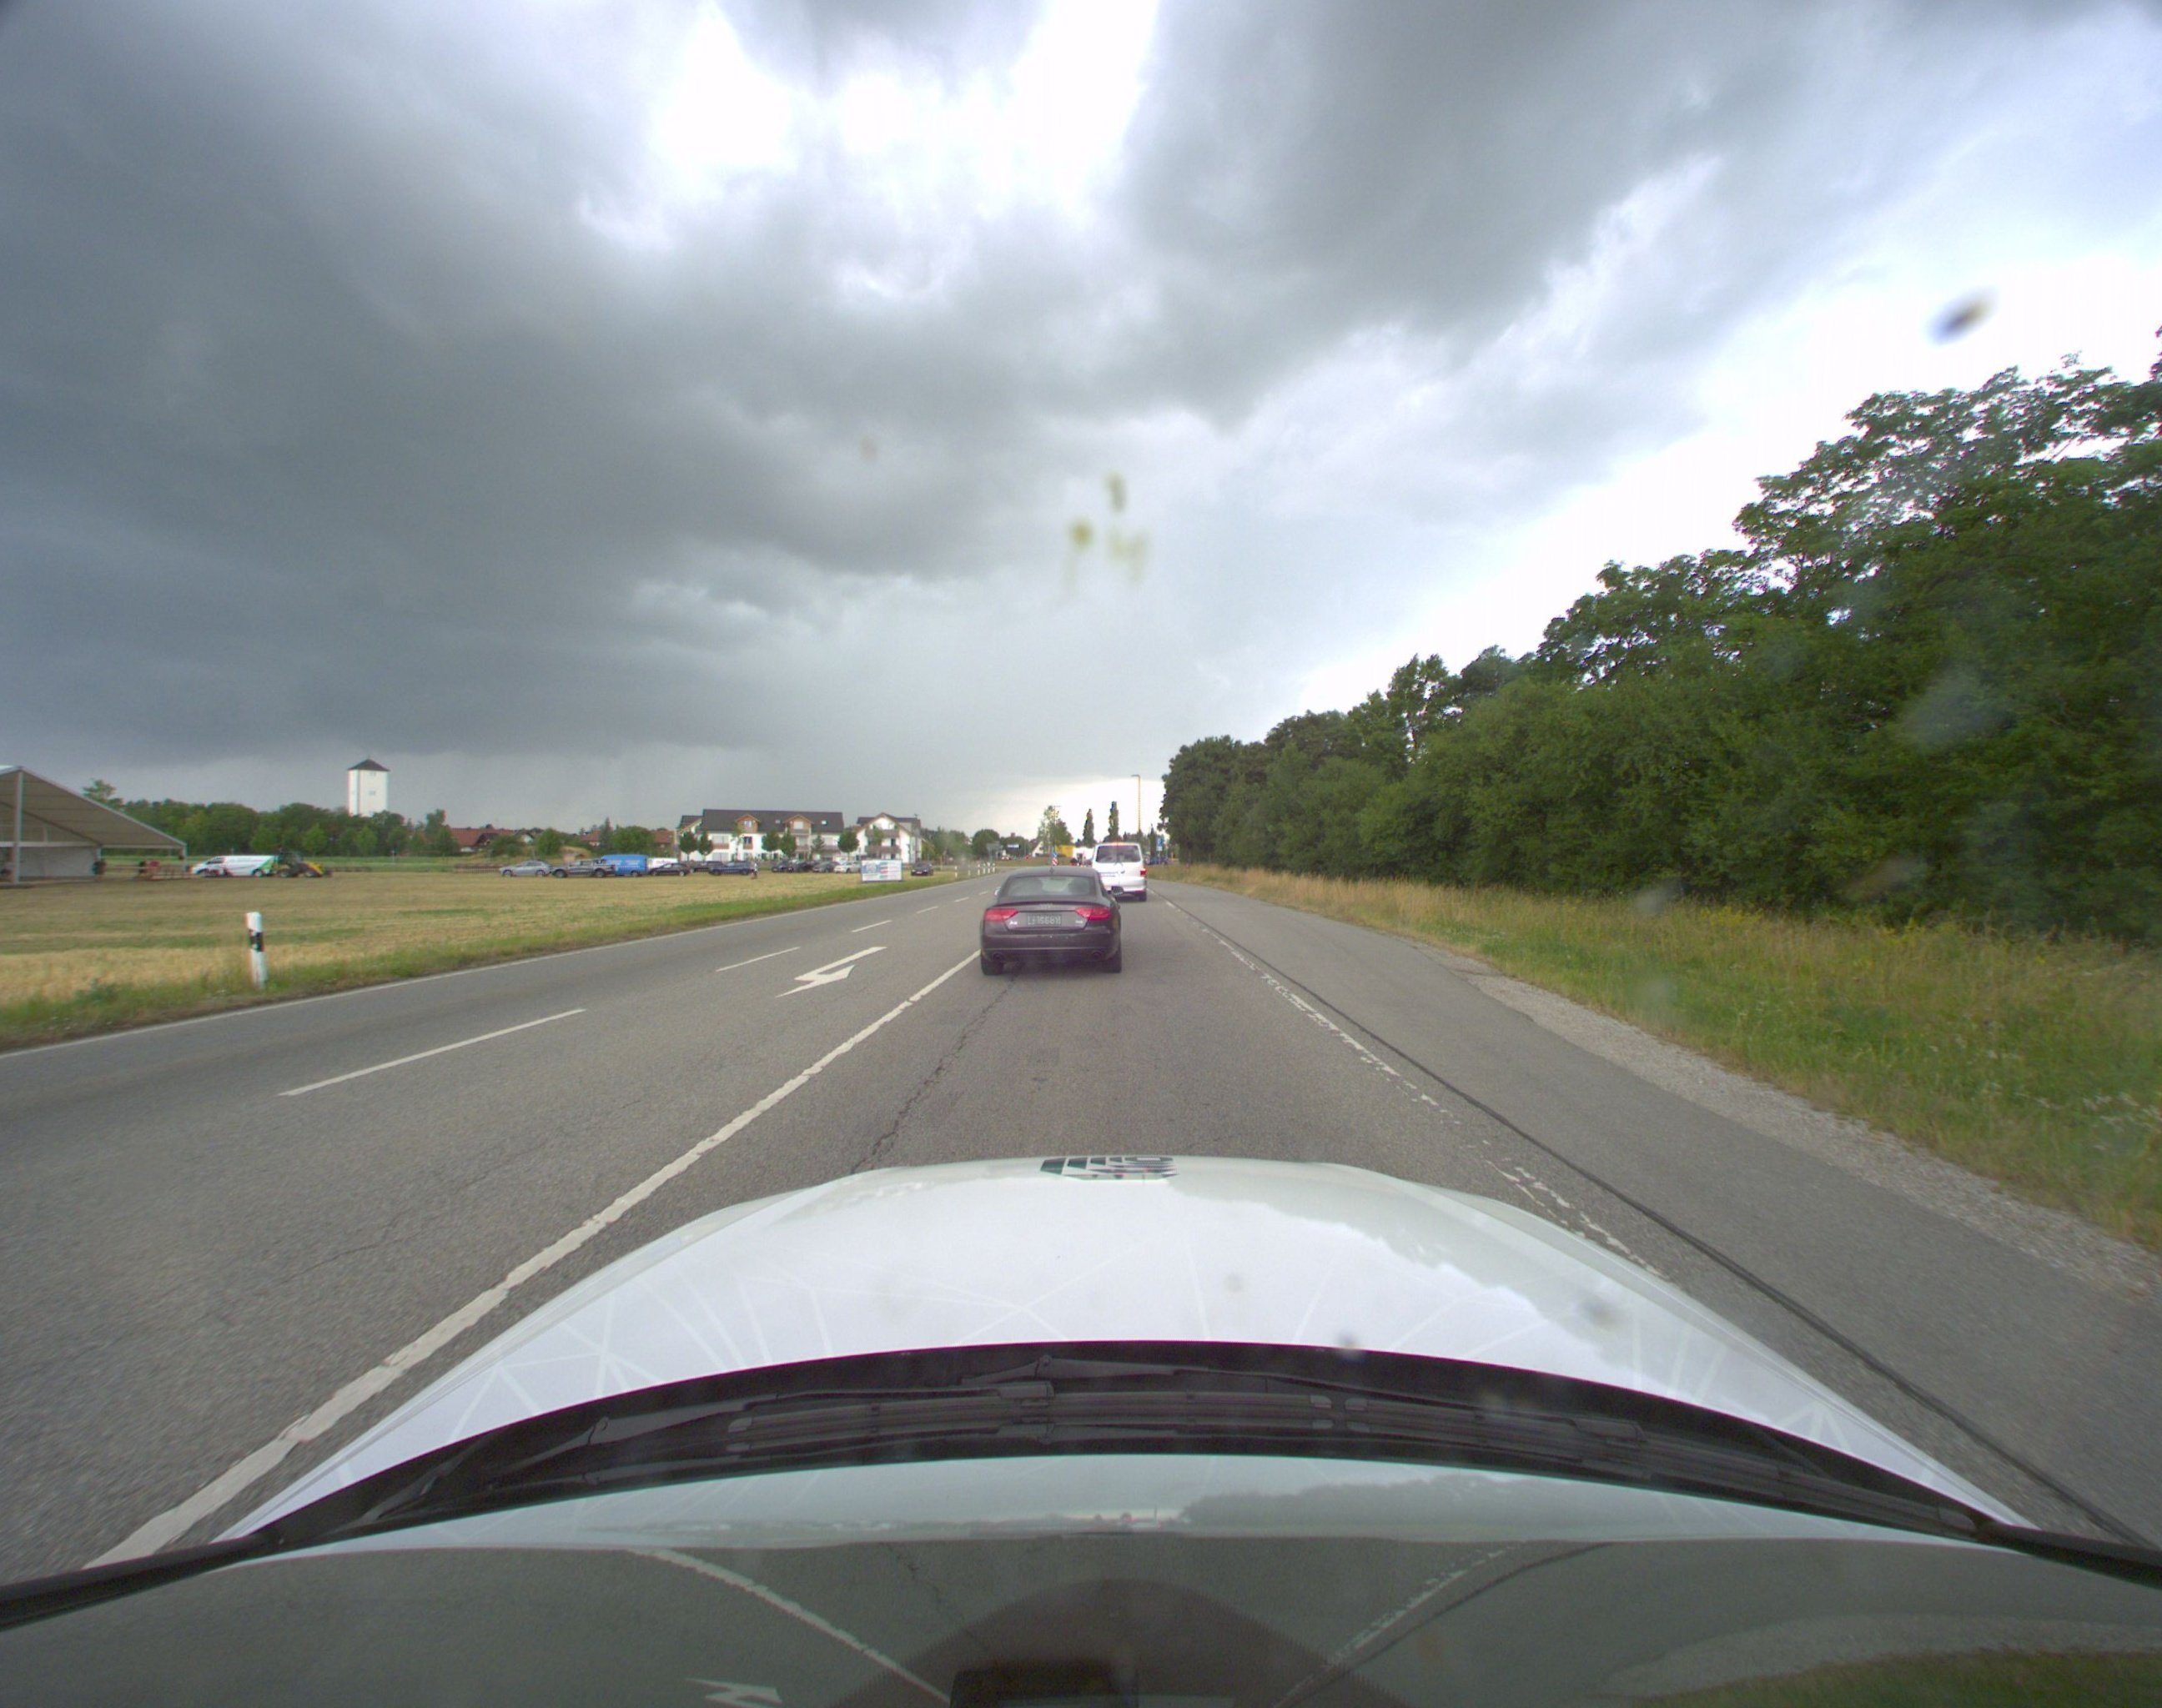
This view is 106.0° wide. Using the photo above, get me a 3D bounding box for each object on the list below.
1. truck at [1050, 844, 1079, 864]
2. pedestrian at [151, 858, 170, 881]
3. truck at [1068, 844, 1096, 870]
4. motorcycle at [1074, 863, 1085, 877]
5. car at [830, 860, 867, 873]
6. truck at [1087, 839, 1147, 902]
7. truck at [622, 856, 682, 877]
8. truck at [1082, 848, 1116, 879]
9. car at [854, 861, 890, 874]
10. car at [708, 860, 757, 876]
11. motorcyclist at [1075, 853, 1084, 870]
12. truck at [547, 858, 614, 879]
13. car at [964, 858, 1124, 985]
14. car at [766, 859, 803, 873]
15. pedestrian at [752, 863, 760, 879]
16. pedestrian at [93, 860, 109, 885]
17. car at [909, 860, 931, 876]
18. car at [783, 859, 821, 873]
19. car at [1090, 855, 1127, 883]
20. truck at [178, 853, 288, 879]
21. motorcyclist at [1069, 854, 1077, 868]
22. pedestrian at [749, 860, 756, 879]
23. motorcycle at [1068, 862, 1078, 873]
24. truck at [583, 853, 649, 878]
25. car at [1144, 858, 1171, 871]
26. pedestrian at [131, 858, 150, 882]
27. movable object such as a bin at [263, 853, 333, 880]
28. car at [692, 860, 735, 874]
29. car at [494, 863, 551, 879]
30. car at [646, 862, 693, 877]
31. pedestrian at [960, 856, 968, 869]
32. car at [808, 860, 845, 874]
[{"bbox_3d":[-3.185,-0.071,153.647,3.579,3.578,9.915,0,0,-12],"label":"truck"},{"bbox_3d":[-71.740,1.170,63.457,0.690,1.776,0.690,0,-1,-17],"label":"pedestrian"},{"bbox_3d":[0.074,0.319,90.291,2.622,2.737,5.857,0,0,-5],"label":"truck"},{"bbox_3d":[-0.103,1.261,65.259,0.917,1.094,2.188,0,0,0],"label":"motorcycle"},{"bbox_3d":[-27.343,1.468,95.967,1.977,1.446,4.233,-1,0,20],"label":"car"},{"bbox_3d":[1.245,0.540,28.319,1.897,1.998,4.631,0,0,2],"label":"truck"},{"bbox_3d":[-47.407,1.336,90.152,5.585,2.196,2.589,0,-1,-21],"label":"truck"},{"bbox_3d":[1.299,0.645,55.622,2.185,2.014,5.087,0,0,2],"label":"truck"},{"bbox_3d":[-24.471,1.531,95.488,1.977,1.446,4.233,-1,0,20],"label":"car"},{"bbox_3d":[-38.217,1.567,89.362,4.729,1.697,1.988,0,-1,-19],"label":"car"},{"bbox_3d":[-0.124,0.613,65.273,0.769,1.383,0.820,0,-1,0],"label":"motorcyclist"},{"bbox_3d":[-48.093,1.377,78.339,5.251,1.921,2.095,0,-1,-25],"label":"truck"},{"bbox_3d":[-0.357,0.813,11.700,1.868,1.454,4.179,-1,0,2],"label":"car"},{"bbox_3d":[-36.081,1.396,99.176,1.977,1.629,4.233,-1,0,20],"label":"car"},{"bbox_3d":[-31.014,1.605,77.711,0.591,1.555,0.622,0,-1,-17],"label":"pedestrian"},{"bbox_3d":[-69.897,1.340,58.114,0.682,1.776,0.699,-1,-1,41],"label":"pedestrian"},{"bbox_3d":[-16.334,1.416,82.755,1.993,1.442,3.988,0,0,-9],"label":"car"},{"bbox_3d":[-33.214,1.389,96.993,1.977,1.629,4.233,-1,0,20],"label":"car"},{"bbox_3d":[1.559,0.831,46.426,1.986,1.485,4.001,0,0,1],"label":"car"},{"bbox_3d":[-74.799,1.046,71.987,6.074,2.217,2.698,0,-1,-25],"label":"truck"},{"bbox_3d":[-0.769,0.700,79.033,0.783,1.356,0.854,0,0,0],"label":"motorcyclist"},{"bbox_3d":[-30.949,1.416,76.724,0.548,1.786,0.676,0,-1,-10],"label":"pedestrian"},{"bbox_3d":[-0.741,1.301,78.986,0.941,1.019,2.284,0,0,1],"label":"motorcycle"},{"bbox_3d":[-47.032,1.110,82.556,5.468,2.446,2.377,0,-1,-21],"label":"truck"},{"bbox_3d":[12.571,1.706,133.007,3.952,2.014,2.011,0,-1,22],"label":"car"},{"bbox_3d":[-73.099,1.246,63.290,0.620,1.866,0.710,0,-1,8],"label":"pedestrian"},{"bbox_3d":[-68.316,1.063,71.117,4.005,2.243,1.869,0,-1,-26],"label":"movable object such as a bin"},{"bbox_3d":[-45.673,1.593,101.278,4.638,1.697,1.988,0,-1,-19],"label":"car"},{"bbox_3d":[-54.693,1.621,79.807,4.315,1.461,1.876,0,-1,-25],"label":"car"},{"bbox_3d":[-43.939,1.638,87.017,4.167,1.519,1.987,0,0,-19],"label":"car"},{"bbox_3d":[-14.307,0.993,99.668,0.695,1.586,0.661,-1,-1,19],"label":"pedestrian"},{"bbox_3d":[-30.067,1.510,96.492,1.977,1.536,4.233,-1,0,20],"label":"car"}]
